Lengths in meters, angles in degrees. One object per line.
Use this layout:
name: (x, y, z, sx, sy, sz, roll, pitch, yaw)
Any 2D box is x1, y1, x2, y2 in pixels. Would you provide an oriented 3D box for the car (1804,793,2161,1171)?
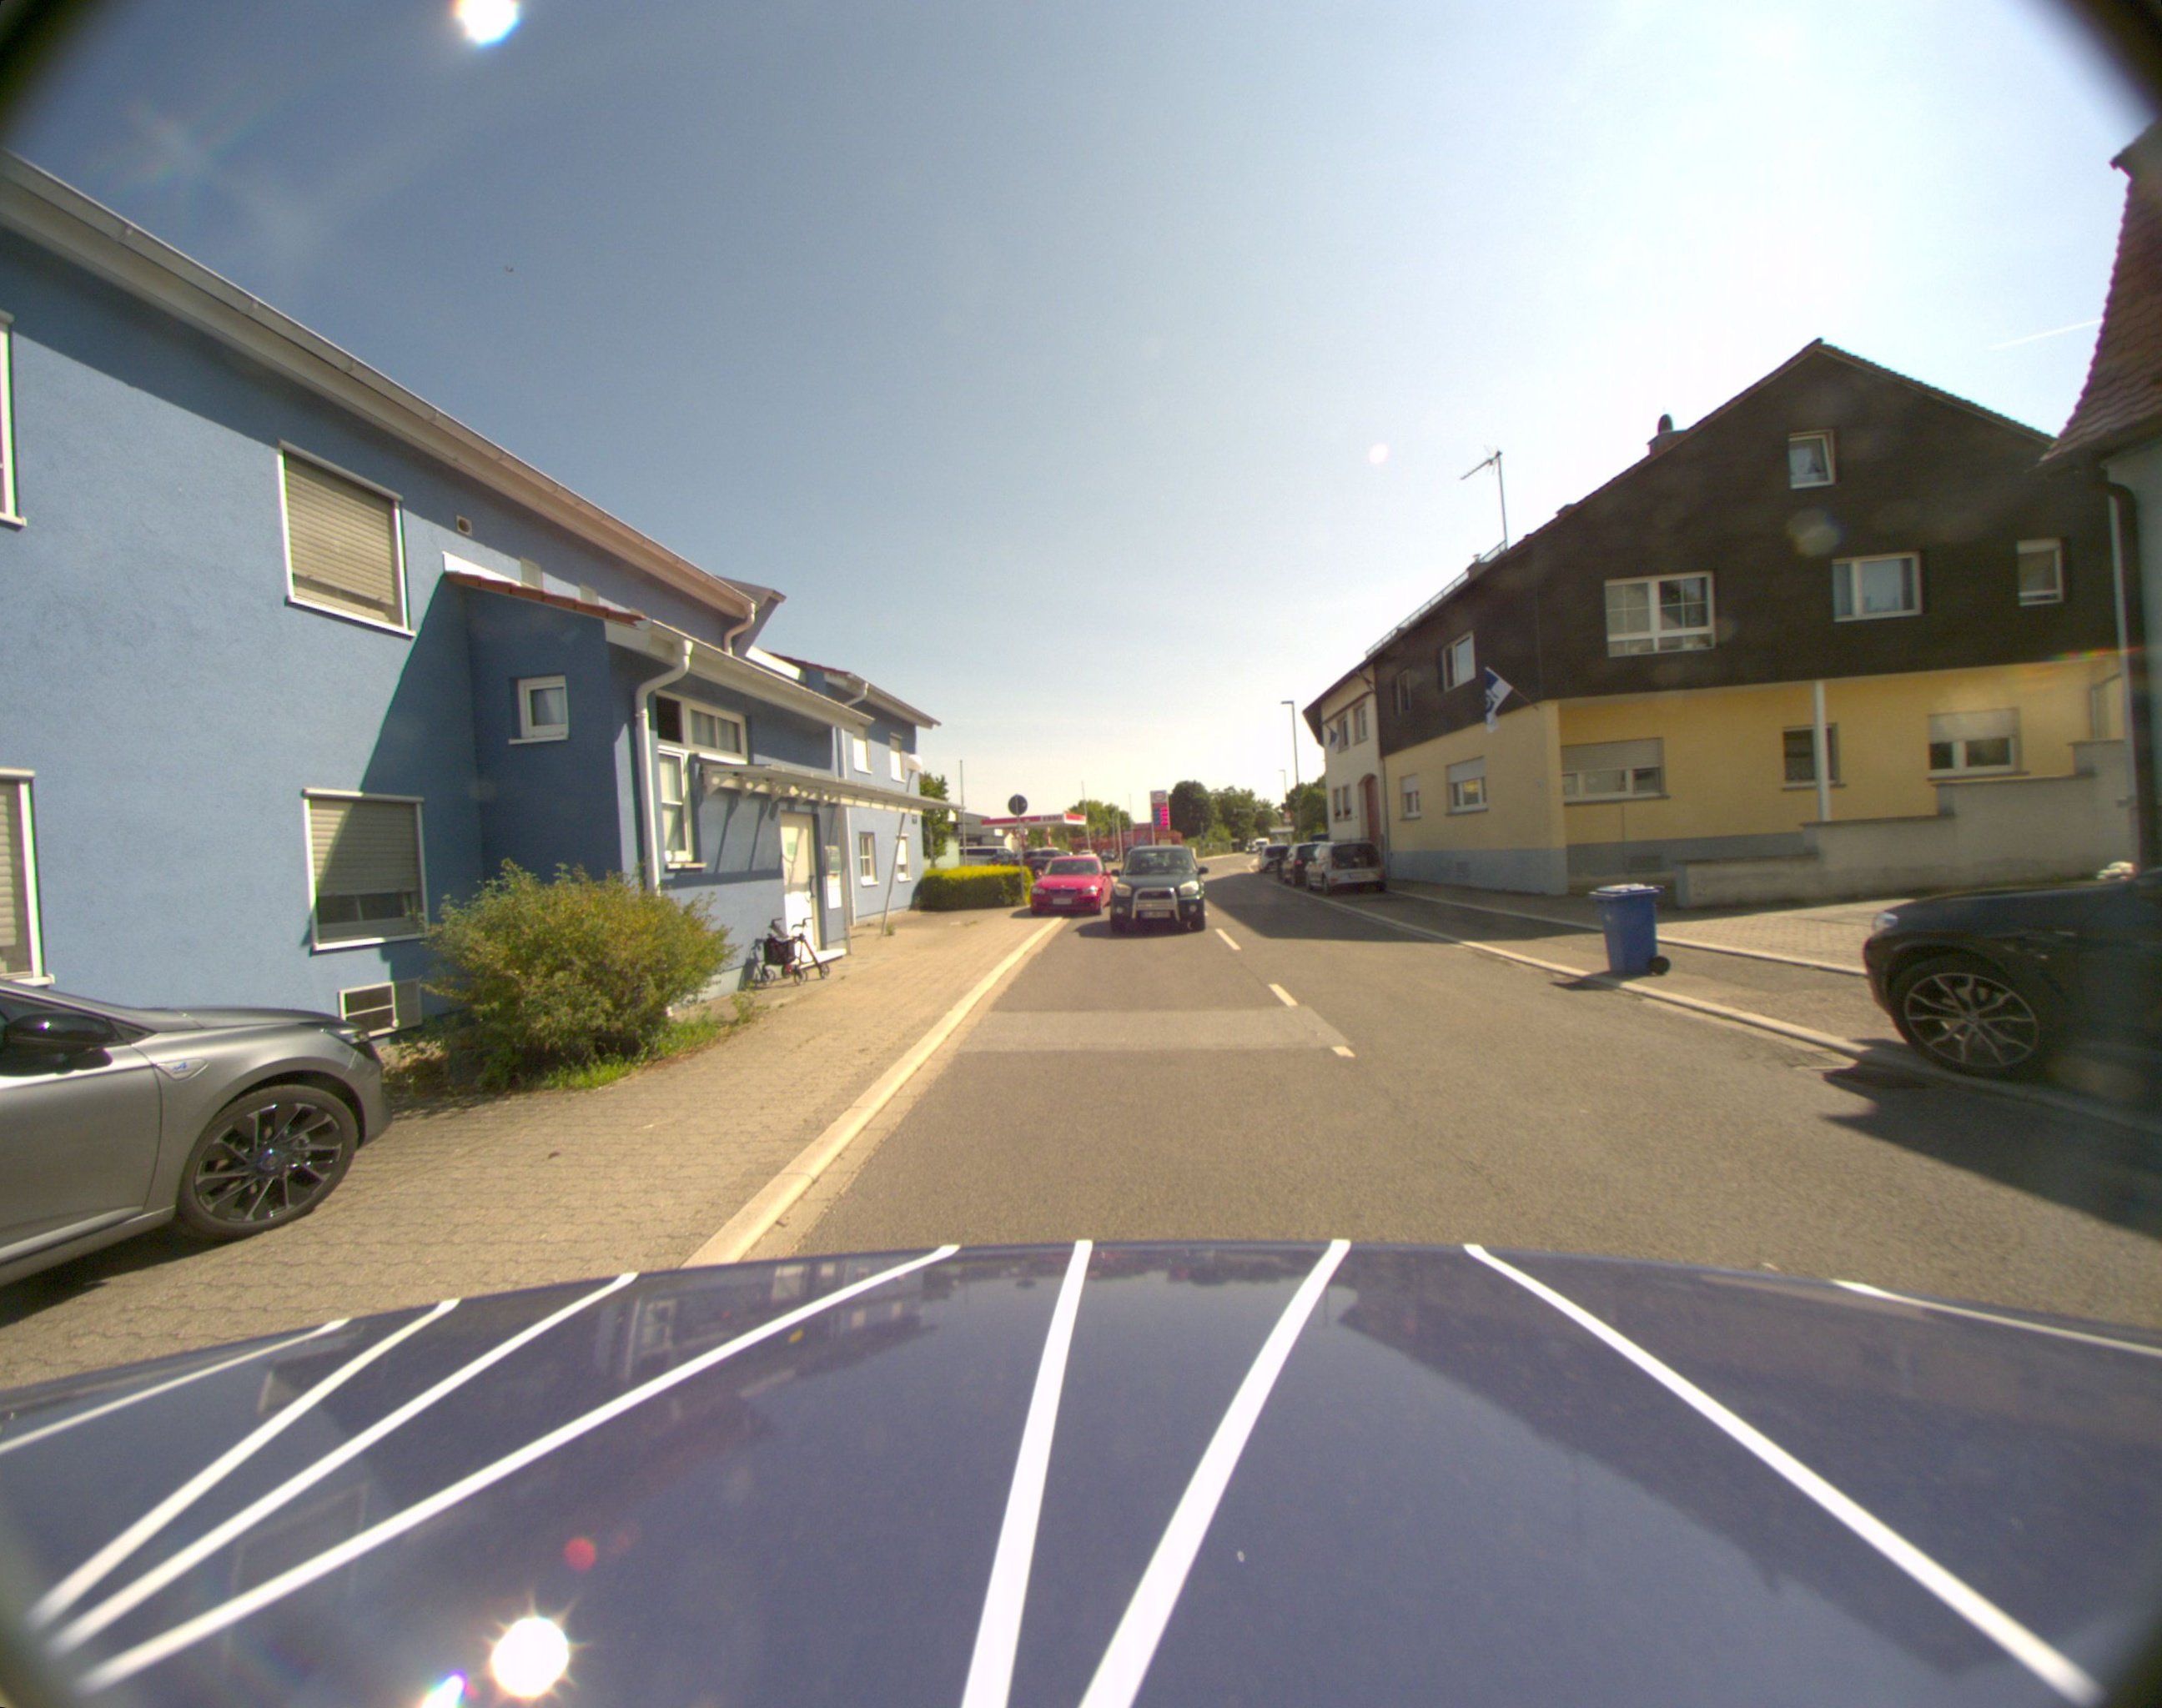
car: (5.842, 0.563, 2.849, 1.924, 1.658, 4.666, -5, 1, 4)

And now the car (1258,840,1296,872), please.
car: (10.170, 0.063, 39.649, 1.687, 1.453, 3.652, -4, 1, 12)

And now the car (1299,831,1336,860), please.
car: (16.531, -0.622, 52.985, 1.839, 1.782, 4.349, -6, 0, 24)

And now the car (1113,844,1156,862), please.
car: (5.160, -0.103, 73.345, 1.777, 1.546, 4.172, -4, 1, -36)

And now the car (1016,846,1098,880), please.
car: (-1.358, 0.473, 42.387, 4.118, 1.644, 1.828, -3, 1, -22)

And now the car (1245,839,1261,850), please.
car: (27.584, -1.535, 121.724, 1.843, 1.583, 4.111, -2, 1, 22)

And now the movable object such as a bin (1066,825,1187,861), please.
movable object such as a bin: (6.208, -1.484, 103.607, 16.075, 3.995, 2.776, -3, 1, 15)

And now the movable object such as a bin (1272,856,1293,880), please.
movable object such as a bin: (8.229, 0.560, 31.001, 0.552, 0.923, 0.825, -7, 0, 1)

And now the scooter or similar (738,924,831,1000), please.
scooter or similar: (-3.745, 1.356, 9.657, 0.729, 0.810, 0.828, -3, 1, 9)

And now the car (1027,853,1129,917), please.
car: (0.058, 0.781, 20.072, 1.735, 1.485, 4.360, -1, -1, 13)

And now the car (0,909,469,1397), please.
car: (-4.370, 1.090, 2.090, 1.693, 1.412, 4.146, -4, 1, 5)

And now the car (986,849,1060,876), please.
car: (-3.780, 0.535, 49.542, 4.321, 1.541, 1.981, -3, 1, -21)

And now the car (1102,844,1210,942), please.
car: (1.638, 0.704, 15.701, 1.847, 1.686, 4.401, -2, 0, 8)

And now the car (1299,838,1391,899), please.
car: (7.637, 0.364, 22.322, 1.644, 1.492, 3.782, -5, 1, 7)

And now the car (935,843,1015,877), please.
car: (-7.359, 0.404, 52.494, 5.287, 2.002, 2.229, -3, 1, -11)

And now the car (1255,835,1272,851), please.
car: (31.900, -1.951, 132.687, 1.936, 2.488, 5.845, -2, 1, 22)

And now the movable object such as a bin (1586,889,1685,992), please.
movable object such as a bin: (5.825, 0.895, 8.006, 0.598, 0.976, 0.531, -4, 1, 3)

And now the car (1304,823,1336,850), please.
car: (20.737, -1.555, 66.014, 2.129, 1.974, 5.270, -8, 0, 15)

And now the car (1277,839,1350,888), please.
car: (8.176, 0.277, 27.034, 1.682, 1.429, 3.997, -6, 0, 7)

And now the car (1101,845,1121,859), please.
car: (3.734, -0.255, 93.708, 1.844, 1.583, 4.108, -3, 1, 9)

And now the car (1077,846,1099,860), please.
car: (0.896, -0.113, 94.257, 2.002, 1.583, 4.341, -3, 1, 9)

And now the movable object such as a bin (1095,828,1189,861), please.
movable object such as a bin: (8.863, -1.324, 111.211, 13.273, 4.141, 2.866, -3, 1, 15)
